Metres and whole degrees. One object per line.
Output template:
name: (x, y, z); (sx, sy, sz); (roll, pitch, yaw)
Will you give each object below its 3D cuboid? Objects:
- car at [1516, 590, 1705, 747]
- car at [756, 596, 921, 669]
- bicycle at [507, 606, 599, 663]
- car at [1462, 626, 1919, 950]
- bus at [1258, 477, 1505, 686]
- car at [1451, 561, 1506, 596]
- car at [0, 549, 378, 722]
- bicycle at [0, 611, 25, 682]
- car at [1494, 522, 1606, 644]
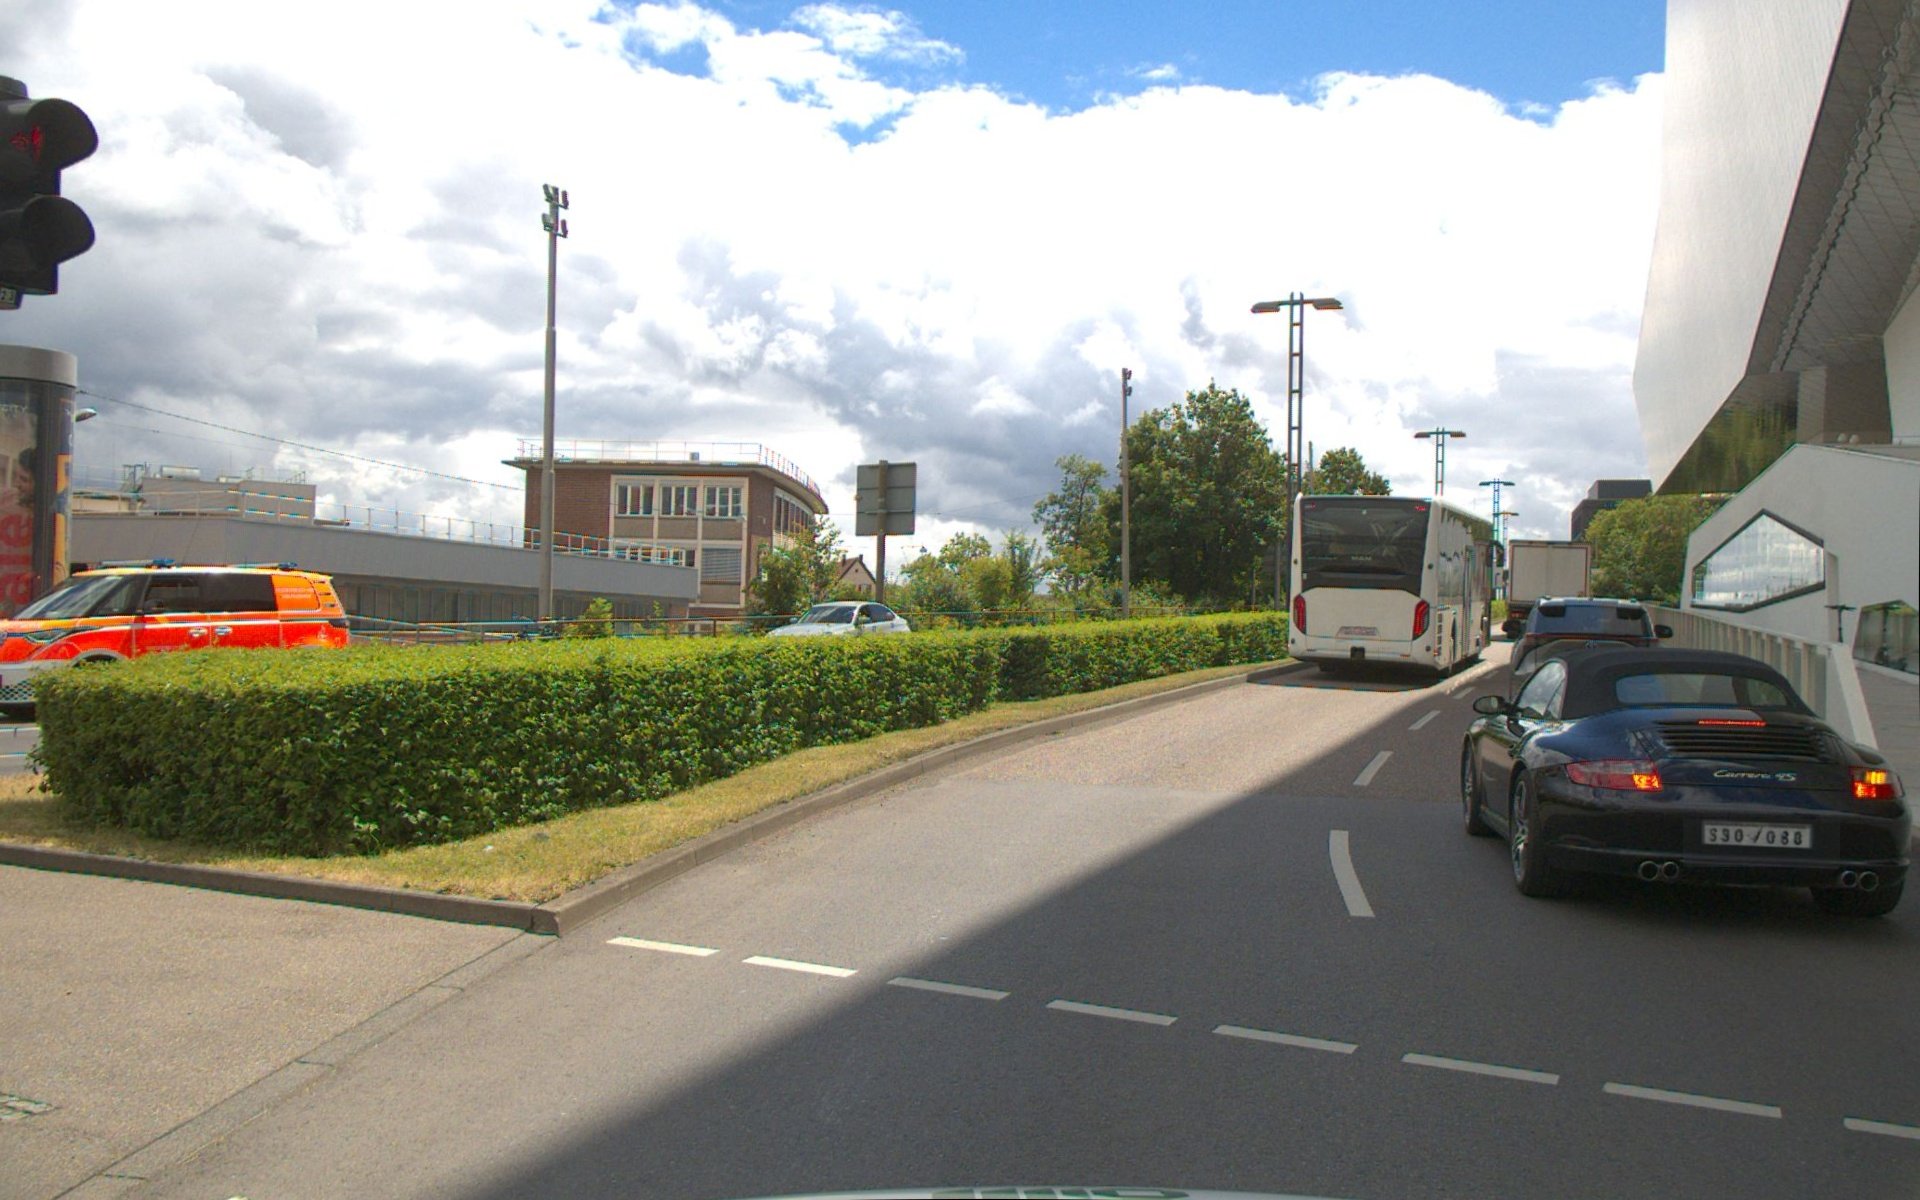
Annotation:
car: (8.101, 0.759, 20.794); (1.952, 1.665, 4.001); (3, 1, 20)
car: (-2.647, 0.684, 37.177); (1.720, 1.422, 4.672); (3, 1, 23)
bicycle: (-8.244, 0.689, 33.596); (0.443, 1.090, 2.294); (2, 1, 25)
car: (4.081, 0.880, 9.512); (1.795, 1.348, 4.003); (1, 0, 10)
bus: (8.913, -0.457, 33.512); (3.010, 3.420, 12.221); (2, 2, 23)
car: (32.016, -1.312, 102.244); (1.954, 1.937, 3.997); (3, -2, -3)
car: (-10.337, 0.447, 21.889); (1.957, 2.018, 4.825); (0, -1, 31)
bicycle: (-15.238, 0.679, 25.497); (1.573, 1.074, 0.492); (3, -2, 22)
car: (20.638, -0.458, 57.594); (3.267, 3.565, 9.340); (2, -2, 21)
